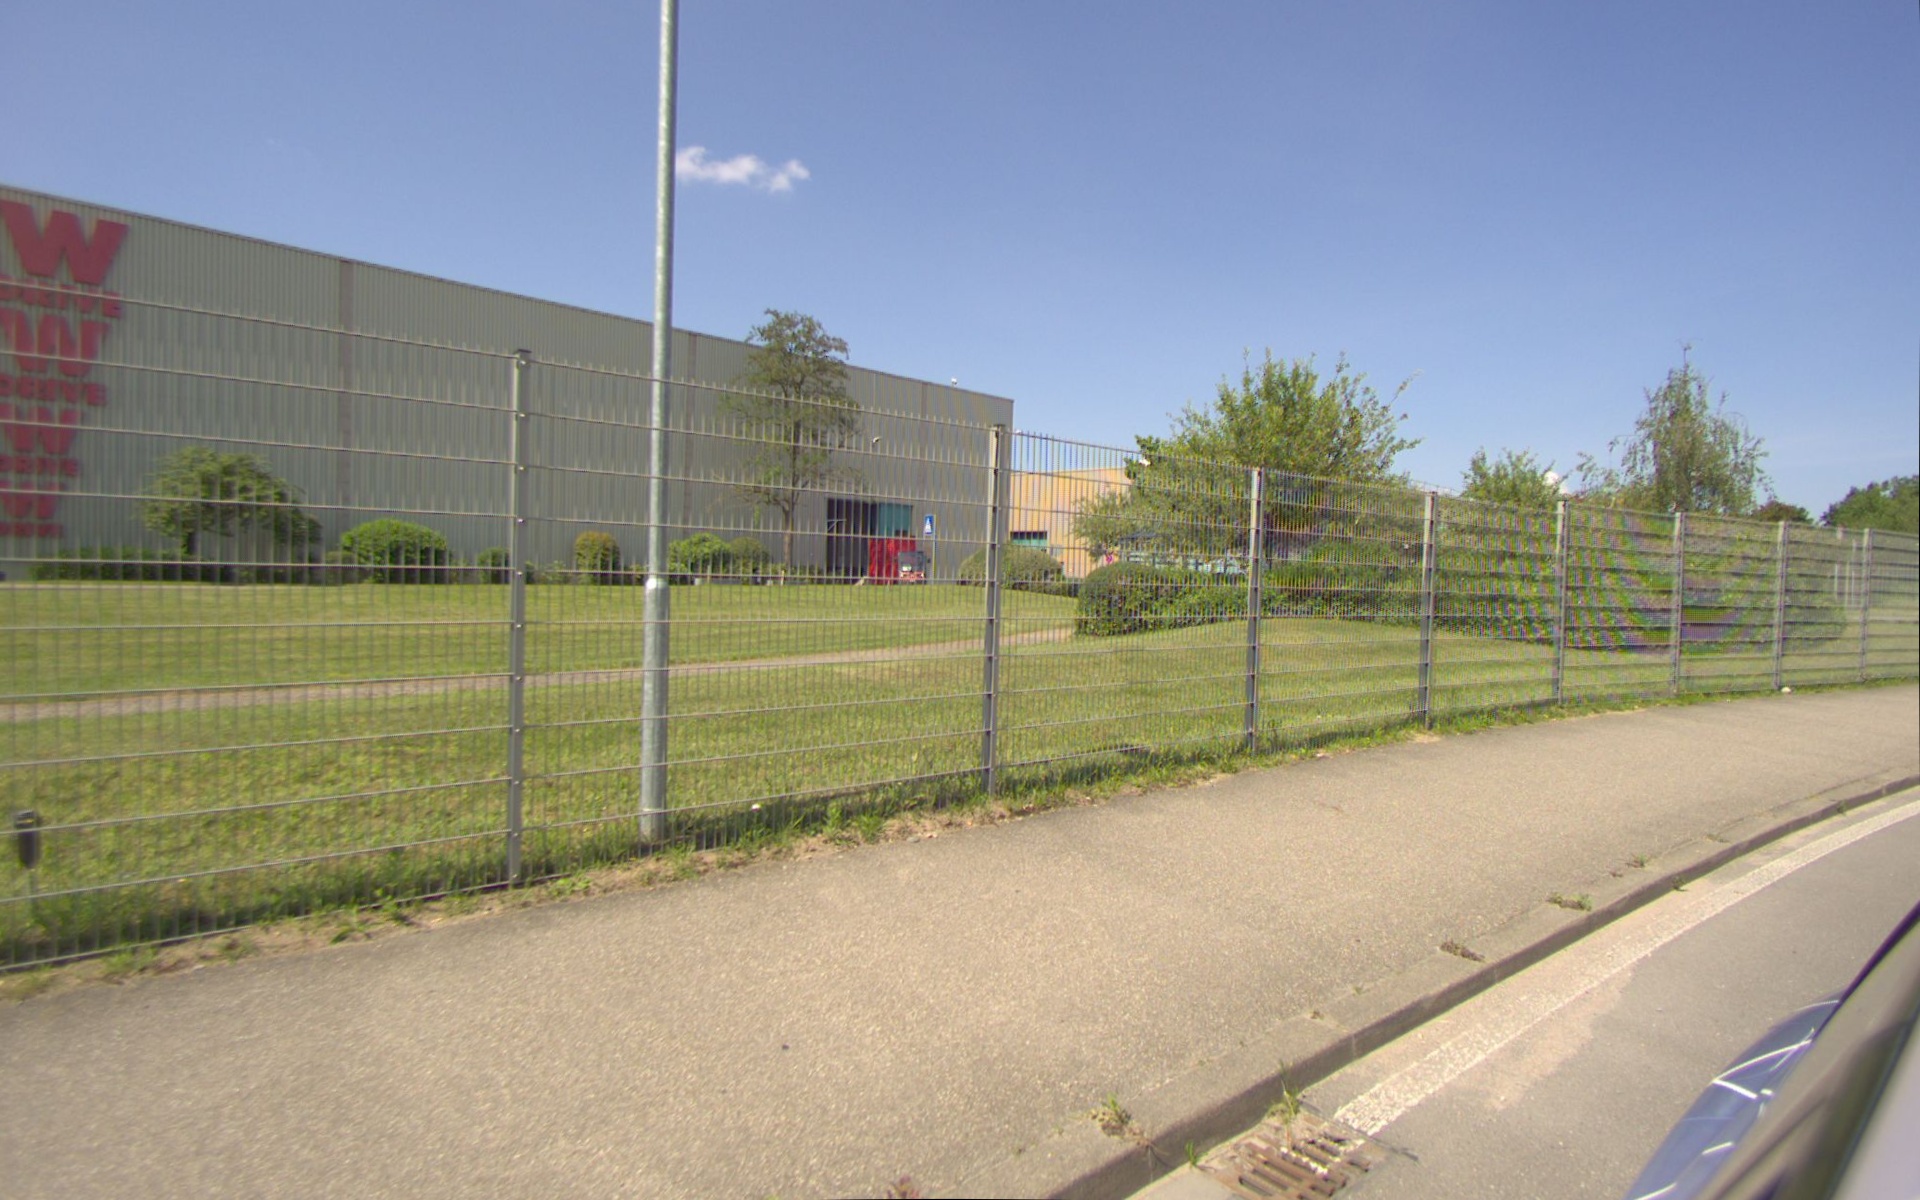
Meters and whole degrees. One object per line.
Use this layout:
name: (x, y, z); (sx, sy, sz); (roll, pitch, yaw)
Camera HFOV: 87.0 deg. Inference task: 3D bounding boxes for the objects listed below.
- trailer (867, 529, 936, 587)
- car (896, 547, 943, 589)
trailer: (-3.103, -2.164, 52.083); (1.958, 2.755, 6.003); (1, 2, -19)
car: (-1.918, -1.505, 47.265); (1.863, 1.838, 4.006); (1, 2, -7)
